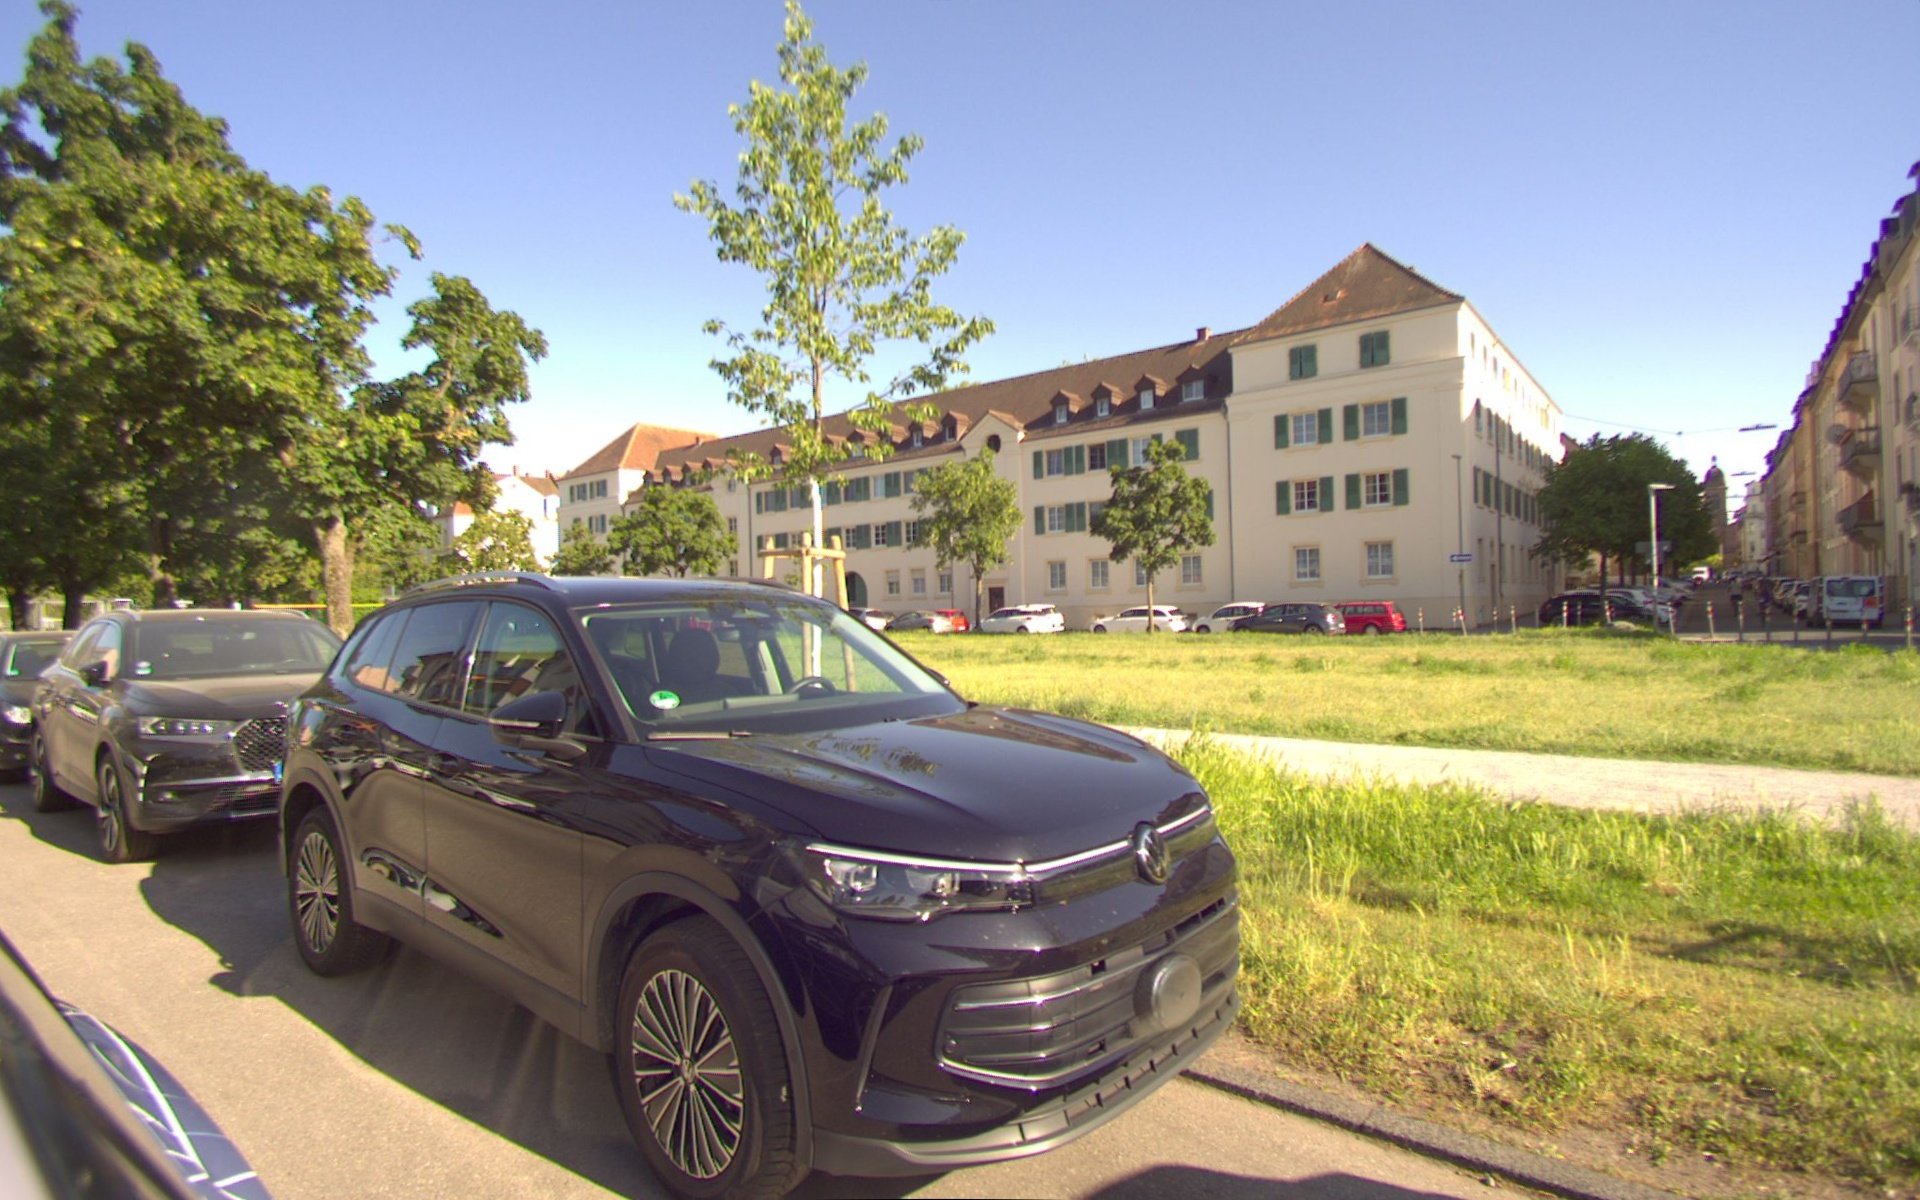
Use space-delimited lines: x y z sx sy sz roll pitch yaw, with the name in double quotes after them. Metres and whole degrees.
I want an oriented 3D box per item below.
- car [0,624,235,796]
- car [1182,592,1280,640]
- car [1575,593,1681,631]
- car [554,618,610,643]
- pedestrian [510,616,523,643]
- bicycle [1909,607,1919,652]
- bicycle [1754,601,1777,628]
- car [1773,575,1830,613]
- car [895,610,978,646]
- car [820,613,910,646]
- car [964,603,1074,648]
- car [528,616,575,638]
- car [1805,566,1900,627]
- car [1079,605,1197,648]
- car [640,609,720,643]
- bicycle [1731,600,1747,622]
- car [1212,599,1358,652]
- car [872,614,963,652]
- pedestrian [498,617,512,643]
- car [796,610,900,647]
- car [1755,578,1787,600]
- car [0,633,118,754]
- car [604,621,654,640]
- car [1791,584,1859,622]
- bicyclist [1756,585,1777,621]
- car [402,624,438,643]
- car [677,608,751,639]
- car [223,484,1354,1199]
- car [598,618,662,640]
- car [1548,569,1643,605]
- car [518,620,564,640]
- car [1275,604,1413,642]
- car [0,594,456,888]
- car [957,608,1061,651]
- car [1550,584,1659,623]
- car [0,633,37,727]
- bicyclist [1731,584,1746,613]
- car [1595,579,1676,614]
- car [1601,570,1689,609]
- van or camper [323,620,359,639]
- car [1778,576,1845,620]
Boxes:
-9.737 1.056 11.053 4.466 1.531 1.855 -2 -3 39 "car"
12.056 0.706 45.110 3.894 2.029 1.648 -1 -1 40 "car"
28.820 0.521 43.721 3.664 1.533 1.691 -2 -1 39 "car"
-26.245 2.129 70.171 4.231 1.595 1.771 -2 -1 39 "car"
-29.122 1.933 66.434 0.537 1.698 0.674 -1 -1 -45 "pedestrian"
28.510 0.835 28.679 2.256 1.272 0.833 -2 -1 40 "bicycle"
31.717 0.555 39.855 0.658 1.024 1.956 -2 -1 38 "bicycle"
47.203 -0.359 56.855 2.150 1.998 4.849 -2 -1 37 "car"
-1.323 1.575 56.555 4.162 1.919 2.241 -2 -1 39 "car"
-5.700 1.780 60.324 5.256 1.834 2.424 -2 -1 42 "car"
3.075 1.333 53.022 5.251 2.233 2.506 -2 -1 39 "car"
-39.559 2.646 98.071 2.042 1.970 3.763 -2 -1 42 "car"
32.237 -0.133 36.702 2.137 2.029 4.520 -2 -1 37 "car"
8.432 1.264 48.249 5.154 1.900 2.132 -2 -1 40 "car"
-17.479 1.641 63.111 5.254 1.999 2.198 -2 -1 40 "car"
38.132 0.516 49.536 0.528 1.024 1.469 -2 -1 36 "bicycle"
12.115 0.971 37.869 4.699 1.834 2.137 -2 -1 39 "car"
-2.101 1.636 49.999 4.007 1.763 2.293 -2 -1 42 "car"
-29.646 1.972 65.928 0.750 1.698 0.537 -2 -1 42 "pedestrian"
-5.954 1.504 53.282 5.452 1.834 2.424 -2 -1 42 "car"
66.008 -0.886 82.361 1.954 1.721 4.109 -2 -1 39 "car"
-13.673 1.246 14.394 4.663 1.503 1.738 -2 -2 39 "car"
-25.000 2.307 76.319 3.996 1.366 1.751 -2 -1 40 "car"
38.539 0.116 45.181 1.934 1.580 3.835 -2 -1 36 "car"
31.661 0.113 39.732 0.623 1.374 0.866 -2 -1 38 "bicyclist"
-53.587 3.305 100.403 3.999 1.807 1.929 -2 -1 42 "car"
-16.930 1.646 69.581 5.250 1.999 2.199 -2 -1 38 "car"
-1.152 0.695 4.009 4.712 1.651 1.824 -2 -2 41 "car"
-23.256 2.032 71.185 4.954 1.496 1.974 -2 -1 40 "car"
29.422 -0.590 46.886 3.609 1.532 1.688 -2 -1 36 "car"
-30.432 2.161 73.495 3.511 1.343 1.634 -2 -1 39 "car"
15.822 0.956 41.847 4.954 1.496 1.974 -2 -1 40 "car"
-5.865 0.857 7.853 4.735 1.622 1.801 -2 -2 41 "car"
2.227 1.371 46.330 4.252 1.834 2.214 -2 -1 38 "car"
30.896 0.181 48.546 4.236 1.714 1.685 -2 -1 38 "car"
-17.113 1.334 17.201 3.681 1.504 1.571 -2 -2 39 "car"
38.105 -0.068 49.532 0.532 1.374 0.776 -2 -1 37 "bicyclist"
38.296 -0.179 57.398 3.705 1.848 1.932 -2 -1 36 "car"
47.354 -0.695 70.029 4.946 2.538 1.932 -2 -1 37 "car"
-70.100 3.350 114.547 4.371 2.029 2.244 -1 0 41 "van or camper"
41.747 -0.110 49.731 1.995 1.988 4.994 -2 -1 35 "car"
